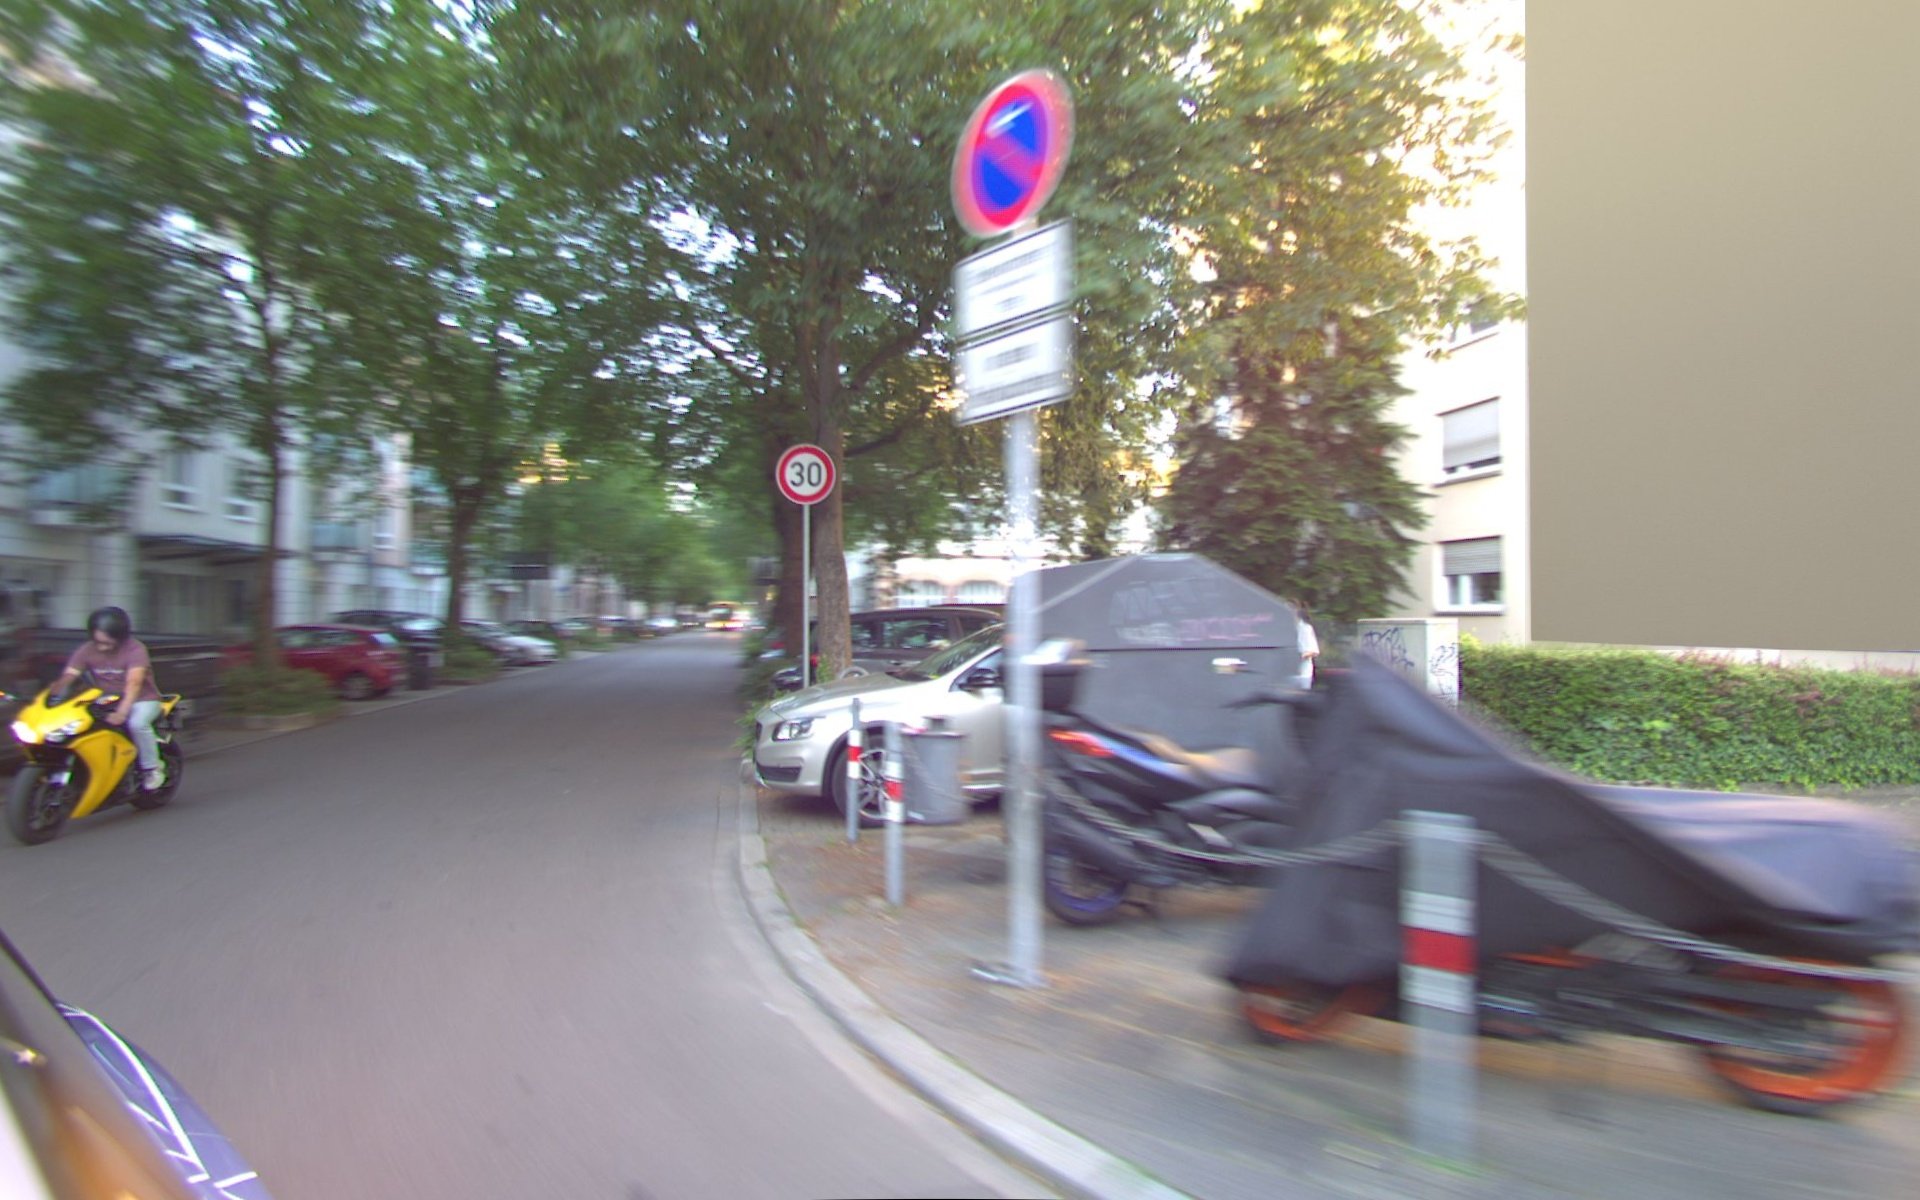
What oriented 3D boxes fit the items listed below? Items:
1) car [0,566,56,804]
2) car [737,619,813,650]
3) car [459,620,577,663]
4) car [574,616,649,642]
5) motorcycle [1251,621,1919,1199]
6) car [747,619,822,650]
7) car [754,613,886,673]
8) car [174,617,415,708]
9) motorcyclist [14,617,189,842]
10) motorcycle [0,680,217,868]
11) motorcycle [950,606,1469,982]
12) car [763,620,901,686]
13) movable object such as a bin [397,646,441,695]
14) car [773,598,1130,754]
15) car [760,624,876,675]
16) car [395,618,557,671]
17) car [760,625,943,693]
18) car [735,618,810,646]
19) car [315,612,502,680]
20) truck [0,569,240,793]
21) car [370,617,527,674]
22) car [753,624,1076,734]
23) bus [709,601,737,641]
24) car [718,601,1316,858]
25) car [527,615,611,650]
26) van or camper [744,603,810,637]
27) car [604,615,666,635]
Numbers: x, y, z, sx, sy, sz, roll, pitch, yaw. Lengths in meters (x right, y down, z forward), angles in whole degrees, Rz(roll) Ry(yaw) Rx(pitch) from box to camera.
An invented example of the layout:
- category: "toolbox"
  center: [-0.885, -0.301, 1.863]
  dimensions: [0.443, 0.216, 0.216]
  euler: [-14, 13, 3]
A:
- category: "car"
  center: [-10.727, 0.621, 8.199]
  dimensions: [4.559, 2.149, 2.041]
  euler: [4, -2, -12]
- category: "car"
  center: [-10.079, 1.847, 55.043]
  dimensions: [3.933, 1.600, 1.833]
  euler: [0, -1, -14]
- category: "car"
  center: [-17.085, 1.610, 39.335]
  dimensions: [3.932, 1.486, 1.919]
  euler: [3, -2, -16]
- category: "car"
  center: [-22.846, 1.907, 66.457]
  dimensions: [4.303, 1.481, 1.734]
  euler: [3, -2, -7]
- category: "motorcycle"
  center: [1.987, 0.759, 2.854]
  dimensions: [2.206, 1.384, 0.719]
  euler: [-1, -1, 19]
- category: "car"
  center: [-9.582, 1.872, 55.136]
  dimensions: [3.934, 1.604, 1.793]
  euler: [-1, -1, -12]
- category: "car"
  center: [-4.933, 1.465, 35.329]
  dimensions: [4.359, 1.906, 2.005]
  euler: [-1, -1, -13]
- category: "car"
  center: [-13.245, 1.238, 20.383]
  dimensions: [3.614, 1.560, 1.785]
  euler: [3, -1, -14]
- category: "motorcyclist"
  center: [-6.657, 0.950, 7.901]
  dimensions: [0.710, 1.626, 0.917]
  euler: [0, -1, -15]
- category: "motorcycle"
  center: [-6.625, 1.248, 7.809]
  dimensions: [0.724, 1.130, 2.114]
  euler: [0, -1, -15]
- category: "motorcycle"
  center: [1.099, 0.789, 4.627]
  dimensions: [2.188, 1.505, 0.693]
  euler: [0, -1, -10]
- category: "car"
  center: [-3.384, 1.351, 26.492]
  dimensions: [3.358, 1.621, 1.765]
  euler: [0, -1, -14]
- category: "movable object such as a bin"
  center: [-12.353, 1.592, 23.106]
  dimensions: [0.764, 1.076, 0.590]
  euler: [0, -1, -13]
- category: "car"
  center: [-0.197, 0.926, 13.537]
  dimensions: [4.336, 1.697, 2.070]
  euler: [-2, -1, -14]
- category: "car"
  center: [-4.412, 1.500, 31.290]
  dimensions: [3.358, 1.453, 1.598]
  euler: [0, -1, -14]
- category: "car"
  center: [-15.964, 1.473, 33.602]
  dimensions: [4.511, 1.564, 1.777]
  euler: [3, -2, -13]
- category: "car"
  center: [-2.587, 1.346, 23.838]
  dimensions: [4.044, 1.390, 1.751]
  euler: [-2, -1, -14]
- category: "car"
  center: [-11.687, 1.993, 63.135]
  dimensions: [4.473, 1.695, 1.626]
  euler: [0, -1, -16]
- category: "car"
  center: [-15.410, 1.289, 28.570]
  dimensions: [4.322, 1.716, 1.901]
  euler: [3, -2, -20]
- category: "truck"
  center: [-11.469, 0.667, 10.561]
  dimensions: [5.925, 2.149, 2.266]
  euler: [4, -2, -12]
- category: "car"
  center: [-15.656, 1.383, 31.161]
  dimensions: [3.935, 1.537, 1.730]
  euler: [3, -2, -10]
- category: "car"
  center: [-0.779, 1.135, 15.688]
  dimensions: [4.651, 1.435, 2.077]
  euler: [-1, -1, -14]
- category: "bus"
  center: [-25.477, 2.264, 108.928]
  dimensions: [2.788, 4.141, 7.850]
  euler: [0, -1, -12]
- category: "car"
  center: [0.332, 0.899, 8.385]
  dimensions: [4.439, 1.593, 2.060]
  euler: [-2, 0, -11]
- category: "car"
  center: [-20.522, 1.722, 53.290]
  dimensions: [3.811, 1.679, 1.930]
  euler: [2, -2, -12]
- category: "van or camper"
  center: [-13.577, 1.479, 75.144]
  dimensions: [4.753, 2.446, 1.950]
  euler: [0, -1, -12]
- category: "car"
  center: [-25.746, 1.970, 80.284]
  dimensions: [4.523, 1.481, 1.700]
  euler: [2, -2, -10]
